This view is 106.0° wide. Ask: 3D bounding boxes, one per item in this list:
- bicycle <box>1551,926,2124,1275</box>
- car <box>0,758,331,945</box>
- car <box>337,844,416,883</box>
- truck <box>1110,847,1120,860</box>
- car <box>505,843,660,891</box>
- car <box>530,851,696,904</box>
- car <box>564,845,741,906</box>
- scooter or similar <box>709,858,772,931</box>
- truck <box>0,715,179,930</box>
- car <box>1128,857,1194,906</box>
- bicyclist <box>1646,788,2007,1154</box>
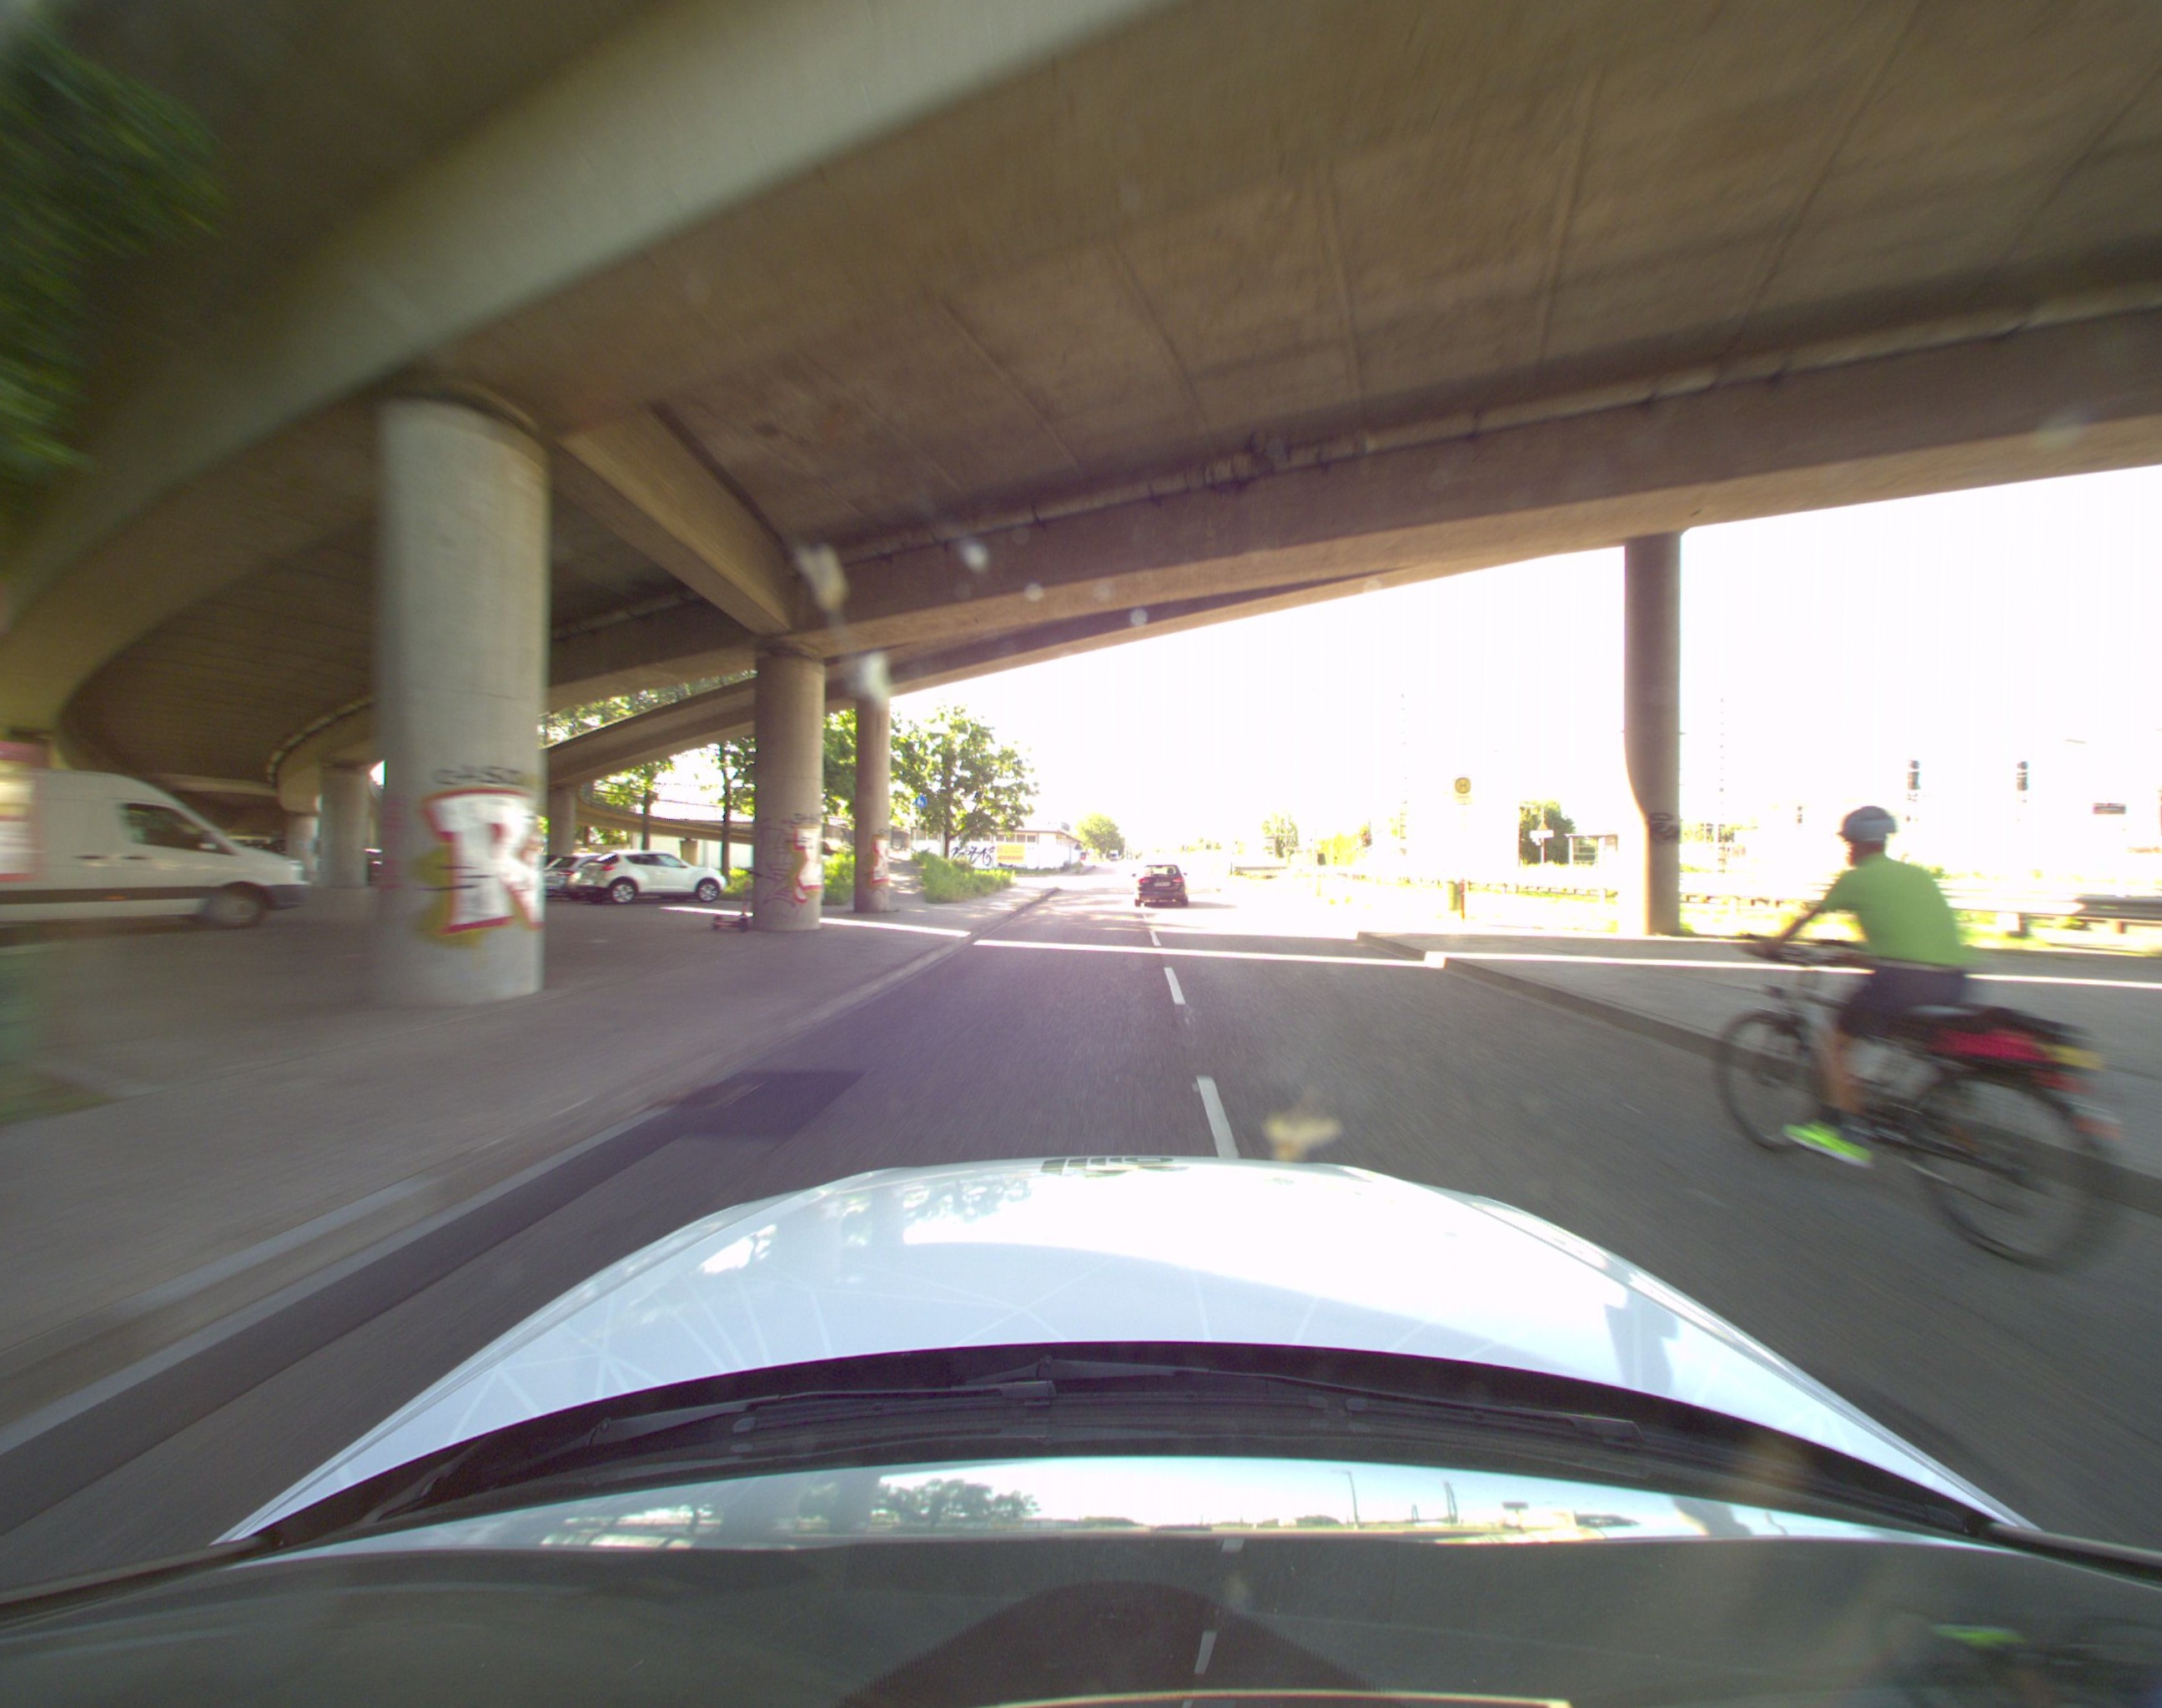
[{"bbox_3d":[3.339,0.978,4.012,0.837,1.051,2.190,0,0,2],"label":"bicycle"},{"bbox_3d":[-16.051,-0.049,12.726,1.922,2.681,6.047,0,1,31],"label":"car"},{"bbox_3d":[-29.926,0.377,34.549,4.243,1.552,1.694,0,0,37],"label":"car"},{"bbox_3d":[10.921,-0.204,262.881,2.604,3.885,13.532,1,0,1],"label":"truck"},{"bbox_3d":[-17.362,0.426,28.570,1.662,1.552,4.325,0,0,32],"label":"car"},{"bbox_3d":[-14.879,0.691,26.116,1.662,1.552,4.325,0,0,32],"label":"car"},{"bbox_3d":[-12.798,0.596,24.561,1.845,1.642,4.309,-3,-1,36],"label":"car"},{"bbox_3d":[-6.422,0.730,15.332,1.292,1.300,0.582,0,-1,42],"label":"scooter or similar"},{"bbox_3d":[-20.095,-0.542,12.602,2.451,3.551,8.018,0,0,38],"label":"truck"},{"bbox_3d":[2.613,0.861,27.569,1.935,1.489,4.567,-1,0,2],"label":"car"},{"bbox_3d":[3.353,0.477,3.777,0.838,1.488,0.924,0,0,0],"label":"bicyclist"}]
